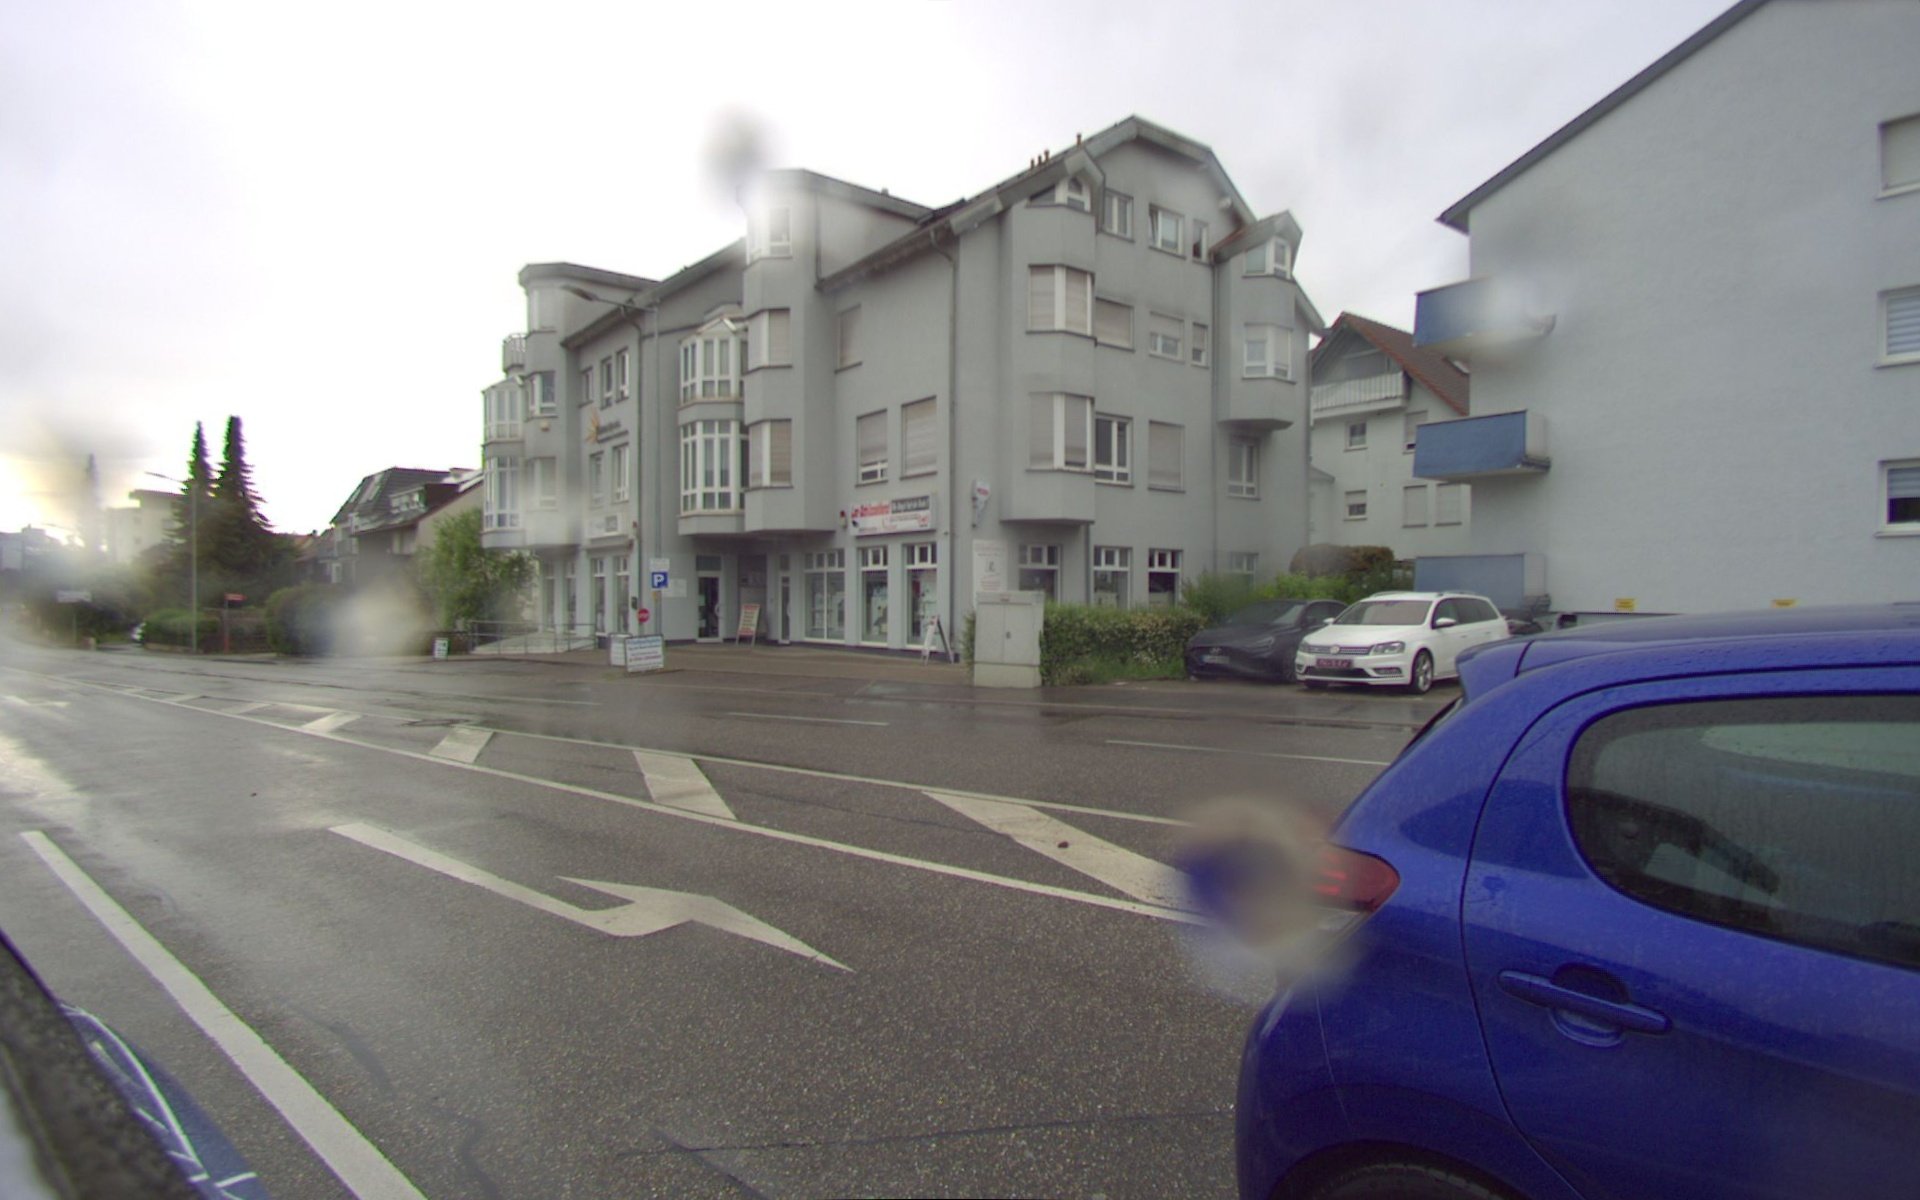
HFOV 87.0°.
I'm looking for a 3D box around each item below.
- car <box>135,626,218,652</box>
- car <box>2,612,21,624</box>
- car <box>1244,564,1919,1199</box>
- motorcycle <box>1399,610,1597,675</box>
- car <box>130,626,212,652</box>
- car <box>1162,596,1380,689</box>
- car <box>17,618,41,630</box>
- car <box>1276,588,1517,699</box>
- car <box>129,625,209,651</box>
[{"bbox_3d":[-49.631,2.461,64.150,3.978,1.453,1.814,-2,0,-44],"label":"car"},{"bbox_3d":[-148.768,2.826,158.793,1.824,1.777,4.129,0,-1,-39],"label":"car"},{"bbox_3d":[2.240,0.637,1.246,3.269,1.421,1.562,-2,0,42],"label":"car"},{"bbox_3d":[9.761,0.788,18.551,3.112,1.108,0.869,-2,-1,25],"label":"motorcycle"},{"bbox_3d":[-51.364,2.531,65.943,4.096,1.453,1.892,-2,0,-42],"label":"car"},{"bbox_3d":[5.464,0.665,17.564,3.940,1.421,1.906,0,-1,-43],"label":"car"},{"bbox_3d":[-124.373,3.201,135.214,1.968,1.628,4.008,0,-1,-38],"label":"car"},{"bbox_3d":[6.839,0.598,15.644,4.169,1.485,1.906,0,-1,-43],"label":"car"},{"bbox_3d":[-53.159,2.524,68.021,4.058,1.557,2.002,-2,0,-44],"label":"car"}]
